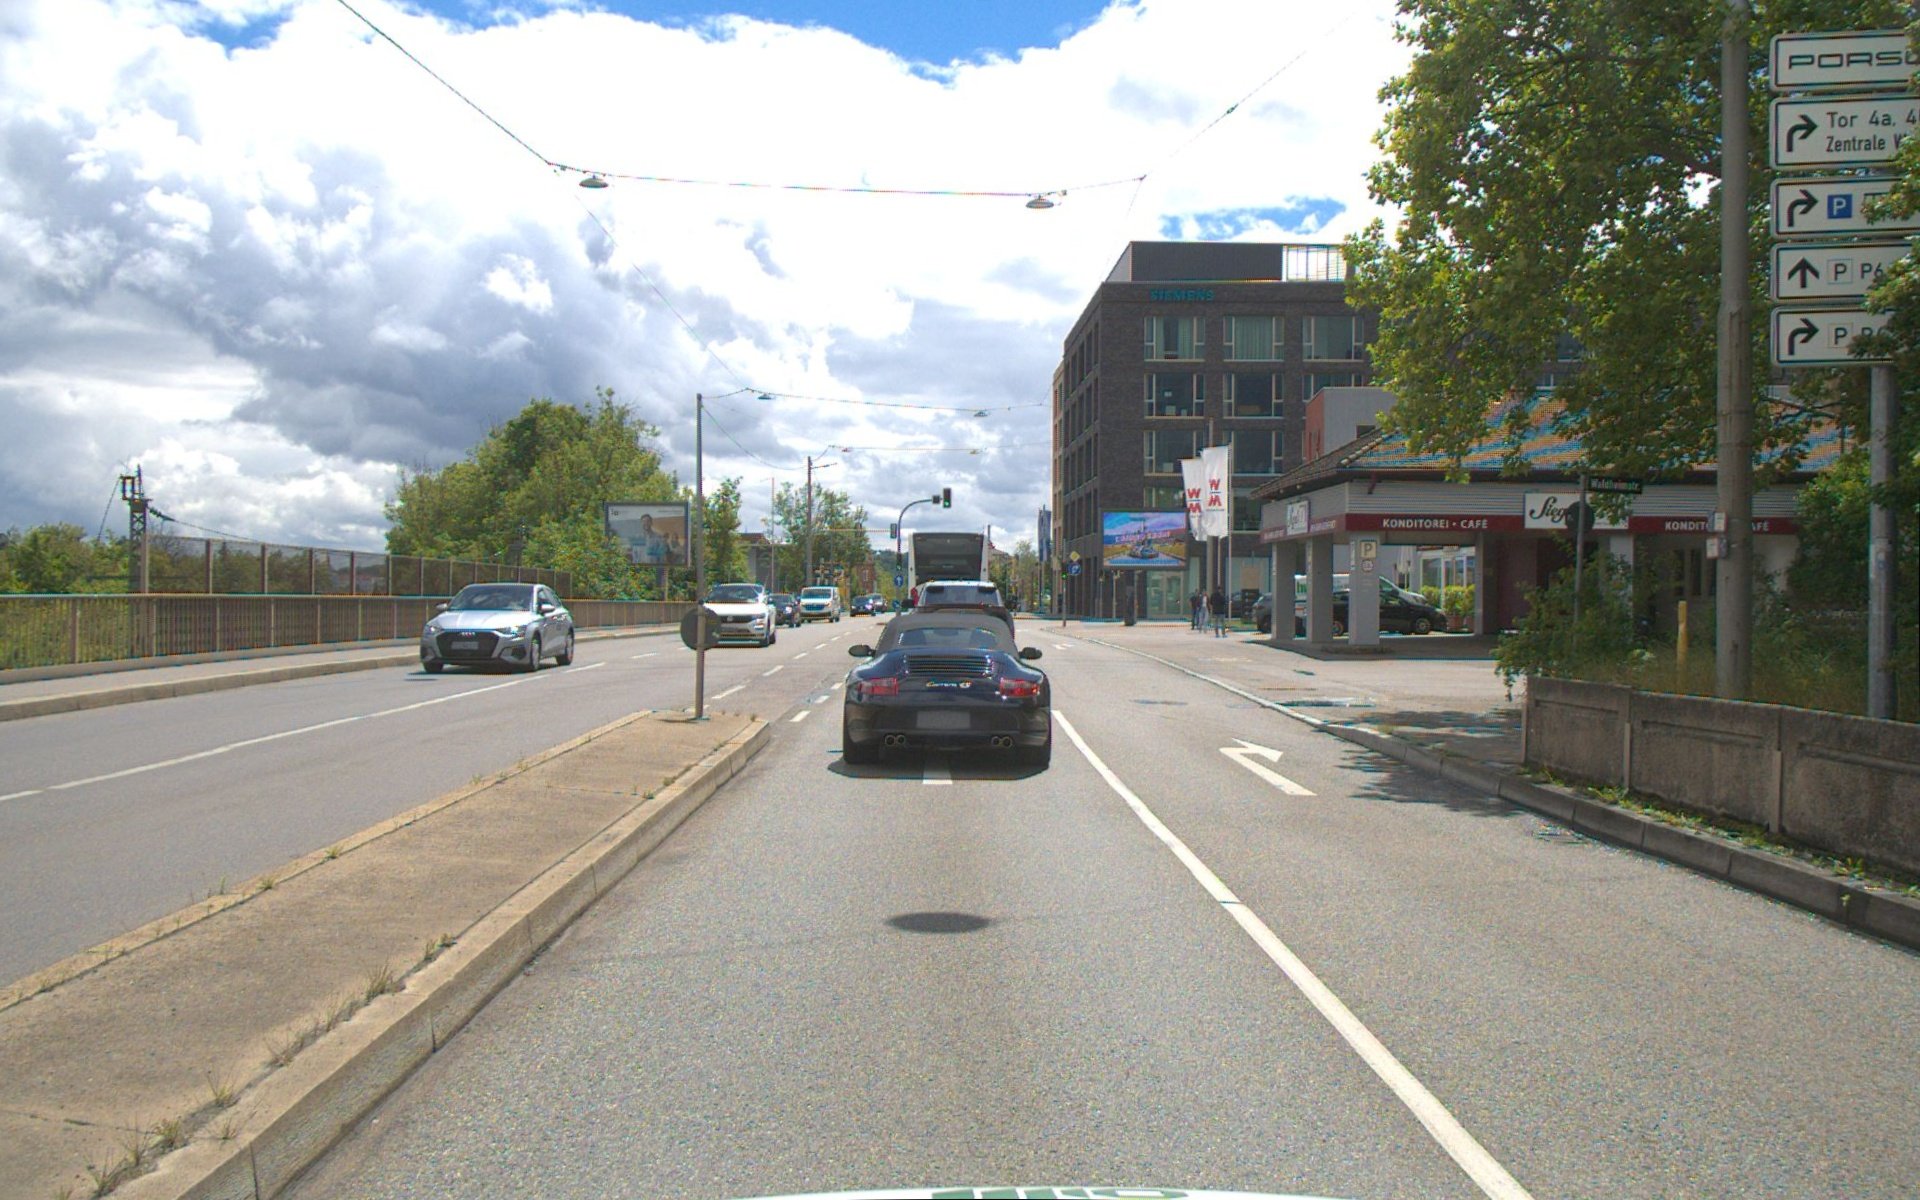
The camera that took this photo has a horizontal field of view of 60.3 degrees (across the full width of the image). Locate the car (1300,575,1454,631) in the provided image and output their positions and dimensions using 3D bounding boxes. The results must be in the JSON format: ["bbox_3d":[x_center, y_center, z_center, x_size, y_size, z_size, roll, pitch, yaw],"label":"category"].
[{"bbox_3d":[12.791,0.106,50.866,4.212,1.539,1.846,-2,-1,0],"label":"car"}]

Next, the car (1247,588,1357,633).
[{"bbox_3d":[12.815,0.391,62.117,3.682,1.465,1.719,-3,0,0],"label":"car"}]

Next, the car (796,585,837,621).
[{"bbox_3d":[-7.969,0.154,92.226,1.863,1.920,5.312,-2,0,-1],"label":"car"}]

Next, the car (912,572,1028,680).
[{"bbox_3d":[0.106,0.394,29.211,1.842,1.621,4.229,2,2,-2],"label":"car"}]

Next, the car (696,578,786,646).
[{"bbox_3d":[-5.436,0.269,41.484,1.773,1.587,4.206,1,0,-1],"label":"car"}]

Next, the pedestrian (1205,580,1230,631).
[{"bbox_3d":[8.675,0.179,55.687,0.666,1.726,0.598,0,0,25],"label":"pedestrian"}]

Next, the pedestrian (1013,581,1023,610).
[{"bbox_3d":[4.157,-0.340,119.268,0.653,2.049,0.769,0,0,-2],"label":"pedestrian"}]

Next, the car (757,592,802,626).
[{"bbox_3d":[-7.923,0.377,72.985,1.595,1.455,3.999,0,0,-1],"label":"car"}]

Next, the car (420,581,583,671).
[{"bbox_3d":[-7.531,0.379,27.566,1.603,1.387,4.194,0,1,-1],"label":"car"}]

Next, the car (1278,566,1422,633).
[{"bbox_3d":[12.675,-0.016,53.936,4.144,1.970,2.029,-2,0,0],"label":"car"}]

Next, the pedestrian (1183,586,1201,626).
[{"bbox_3d":[9.994,0.252,71.344,0.657,1.690,0.742,0,0,-2],"label":"pedestrian"}]

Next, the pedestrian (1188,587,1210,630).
[{"bbox_3d":[9.607,0.332,66.632,0.693,1.726,0.924,1,0,-4],"label":"pedestrian"}]

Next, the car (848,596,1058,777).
[{"bbox_3d":[-0.101,0.705,15.562,1.685,1.297,4.088,1,2,-1],"label":"car"}]

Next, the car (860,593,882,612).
[{"bbox_3d":[-7.443,0.173,138.852,1.629,1.574,3.802,0,0,0],"label":"car"}]

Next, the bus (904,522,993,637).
[{"bbox_3d":[-0.323,-0.911,56.627,2.634,3.311,12.062,2,3,0],"label":"bus"}]

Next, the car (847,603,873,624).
[{"bbox_3d":[-7.187,0.951,119.531,1.629,1.440,3.802,0,0,0],"label":"car"}]
